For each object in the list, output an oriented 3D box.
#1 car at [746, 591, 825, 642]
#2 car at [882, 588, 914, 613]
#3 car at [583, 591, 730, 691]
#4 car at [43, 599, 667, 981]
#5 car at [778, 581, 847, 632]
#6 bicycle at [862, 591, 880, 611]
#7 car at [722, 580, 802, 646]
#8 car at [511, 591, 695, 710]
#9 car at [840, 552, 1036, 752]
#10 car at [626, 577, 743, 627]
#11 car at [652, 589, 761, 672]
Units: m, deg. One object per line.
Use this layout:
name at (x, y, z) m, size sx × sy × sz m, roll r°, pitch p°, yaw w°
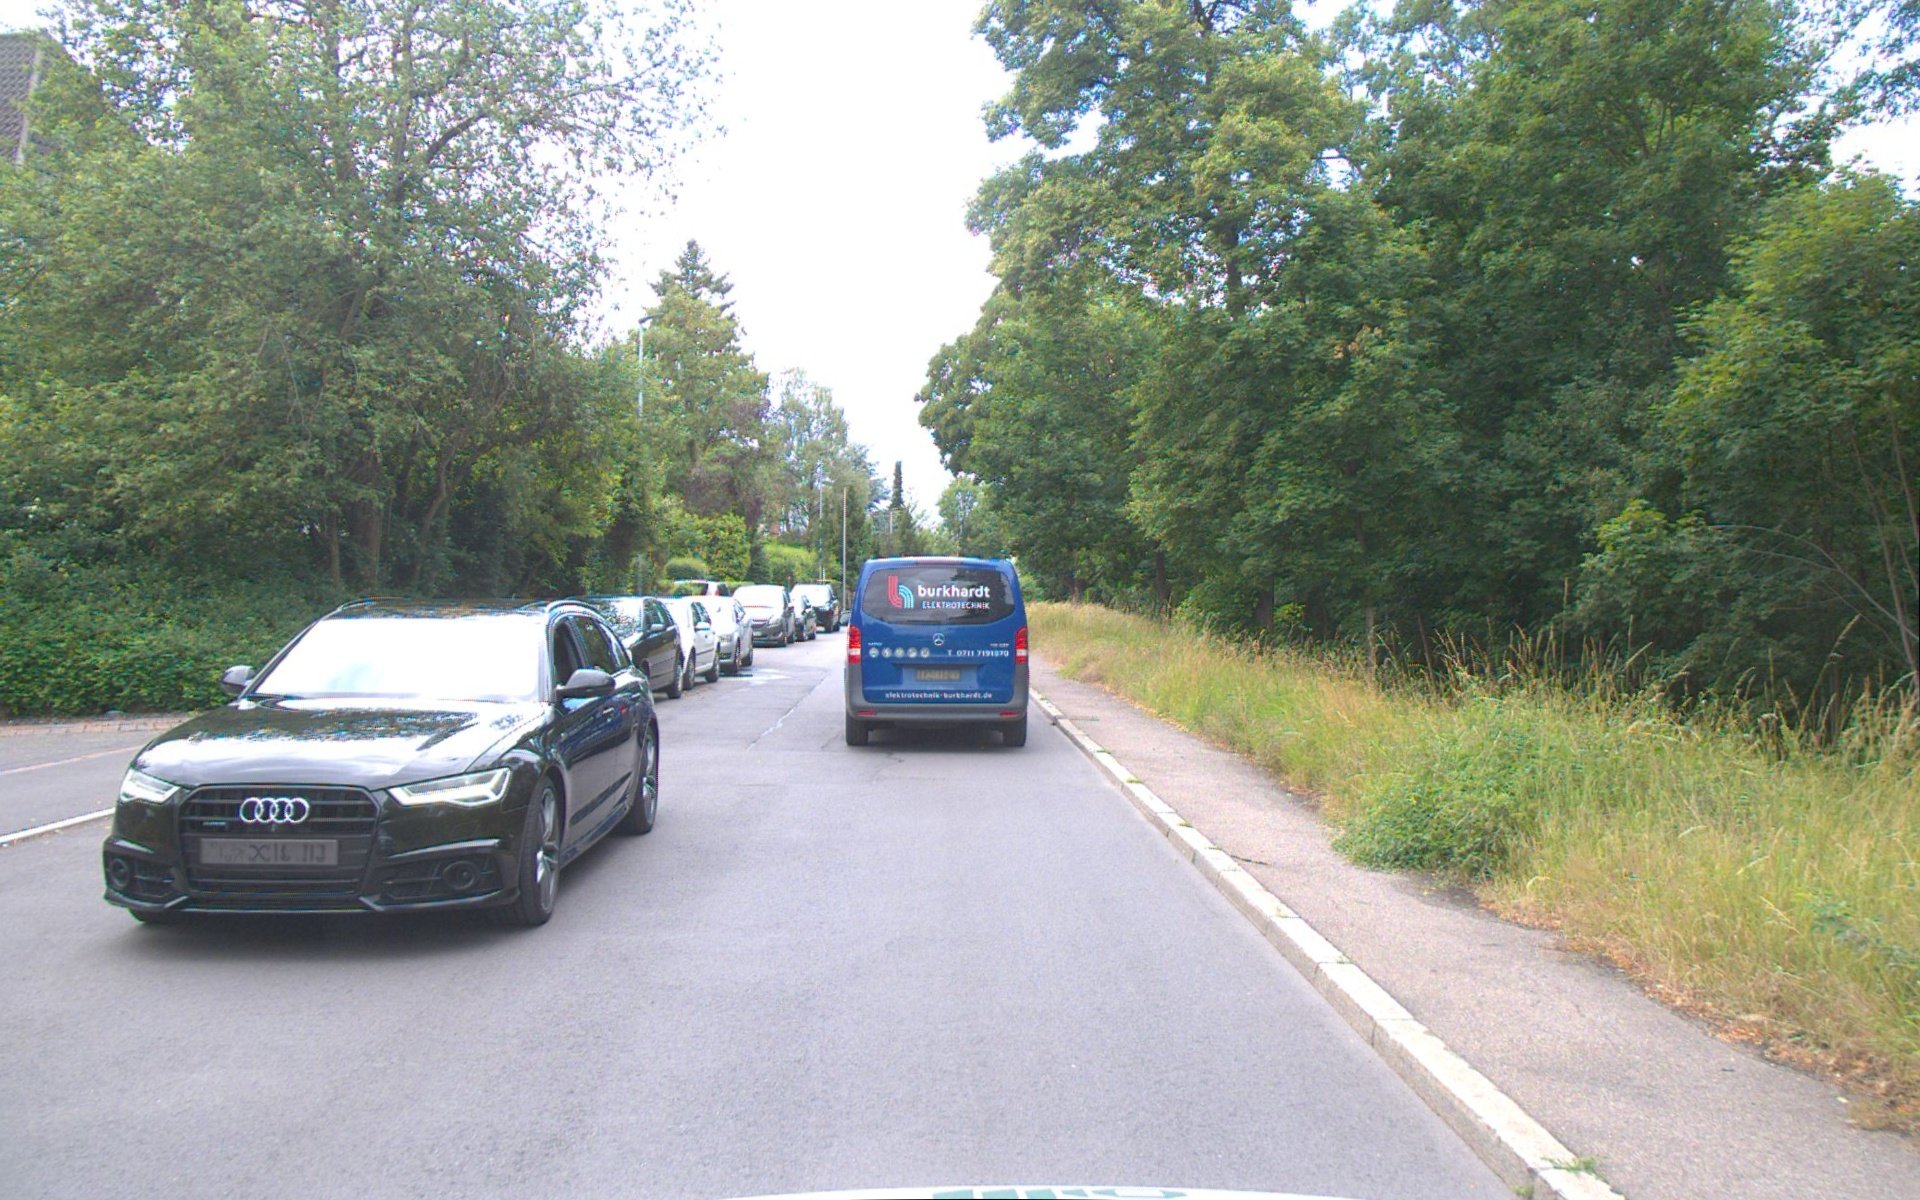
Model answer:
car at (-5.293, 0.461, 50.742) m, size 1.718 × 1.437 × 4.899 m, roll 1°, pitch 0°, yaw 2°
car at (-4.231, 0.024, 112.735) m, size 1.798 × 1.659 × 4.302 m, roll 2°, pitch 0°, yaw 2°
car at (-4.910, 0.613, 27.292) m, size 1.626 × 1.478 × 4.381 m, roll 0°, pitch 1°, yaw 0°
car at (-2.735, 0.739, 8.655) m, size 1.744 × 1.451 × 4.488 m, roll 0°, pitch 0°, yaw -2°
car at (-5.425, 0.215, 61.464) m, size 1.933 × 1.767 × 5.190 m, roll 1°, pitch 0°, yaw 2°
bicycle at (-5.889, 0.084, 109.847) m, size 0.887 × 1.273 × 2.917 m, roll 3°, pitch 0°, yaw 2°
car at (-5.379, 0.330, 45.290) m, size 1.696 × 1.661 × 4.567 m, roll 1°, pitch 0°, yaw -1°
car at (-4.767, 0.618, 22.574) m, size 1.589 × 1.475 × 3.969 m, roll 0°, pitch 0°, yaw 1°
car at (-0.341, 0.436, 17.714) m, size 1.851 × 1.876 × 3.997 m, roll -1°, pitch 2°, yaw -4°
car at (-9.730, 0.063, 58.516) m, size 3.613 × 1.666 × 1.830 m, roll 2°, pitch 0°, yaw 12°
car at (-4.989, 0.562, 32.953) m, size 1.590 × 1.475 × 4.092 m, roll 2°, pitch 1°, yaw -2°
